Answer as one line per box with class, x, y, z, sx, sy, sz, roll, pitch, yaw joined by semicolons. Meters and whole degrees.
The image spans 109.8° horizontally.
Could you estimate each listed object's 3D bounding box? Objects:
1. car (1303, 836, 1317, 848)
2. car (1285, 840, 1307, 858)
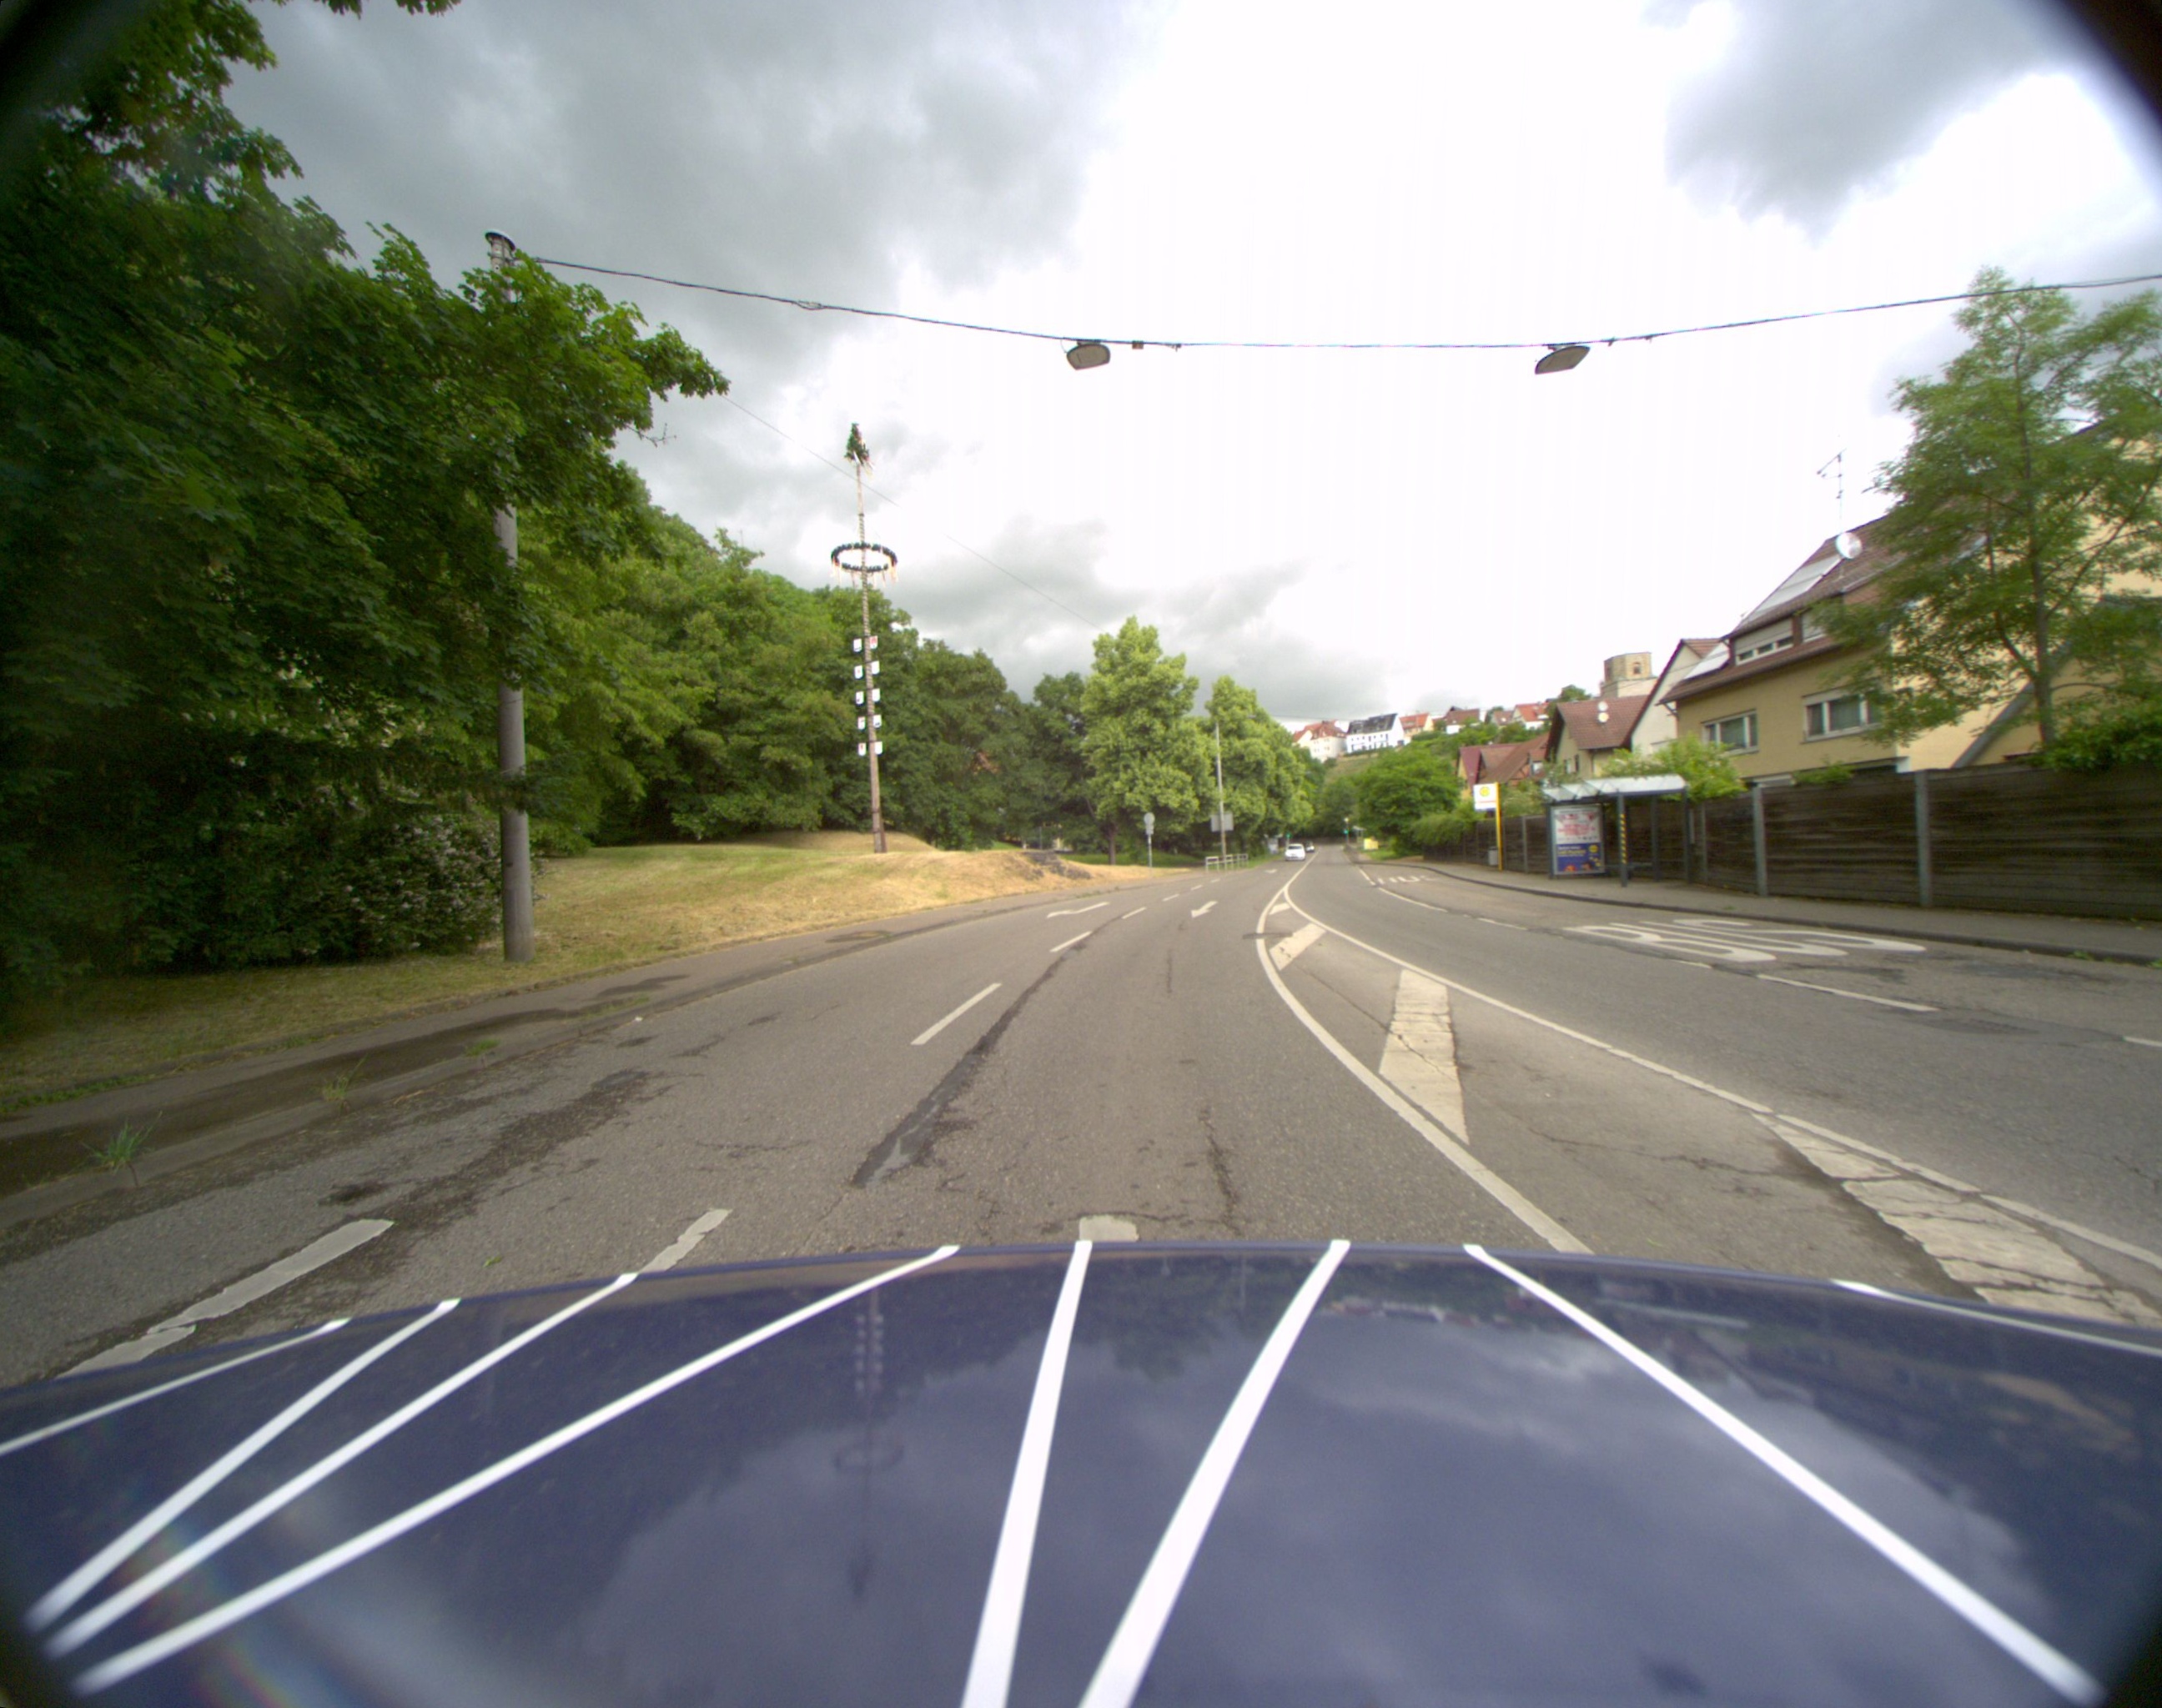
car;31.718;-1.659;105.312;1.761;1.575;3.687;-2;1;17
car;19.394;-0.480;68.578;1.762;1.516;3.687;-2;1;15
